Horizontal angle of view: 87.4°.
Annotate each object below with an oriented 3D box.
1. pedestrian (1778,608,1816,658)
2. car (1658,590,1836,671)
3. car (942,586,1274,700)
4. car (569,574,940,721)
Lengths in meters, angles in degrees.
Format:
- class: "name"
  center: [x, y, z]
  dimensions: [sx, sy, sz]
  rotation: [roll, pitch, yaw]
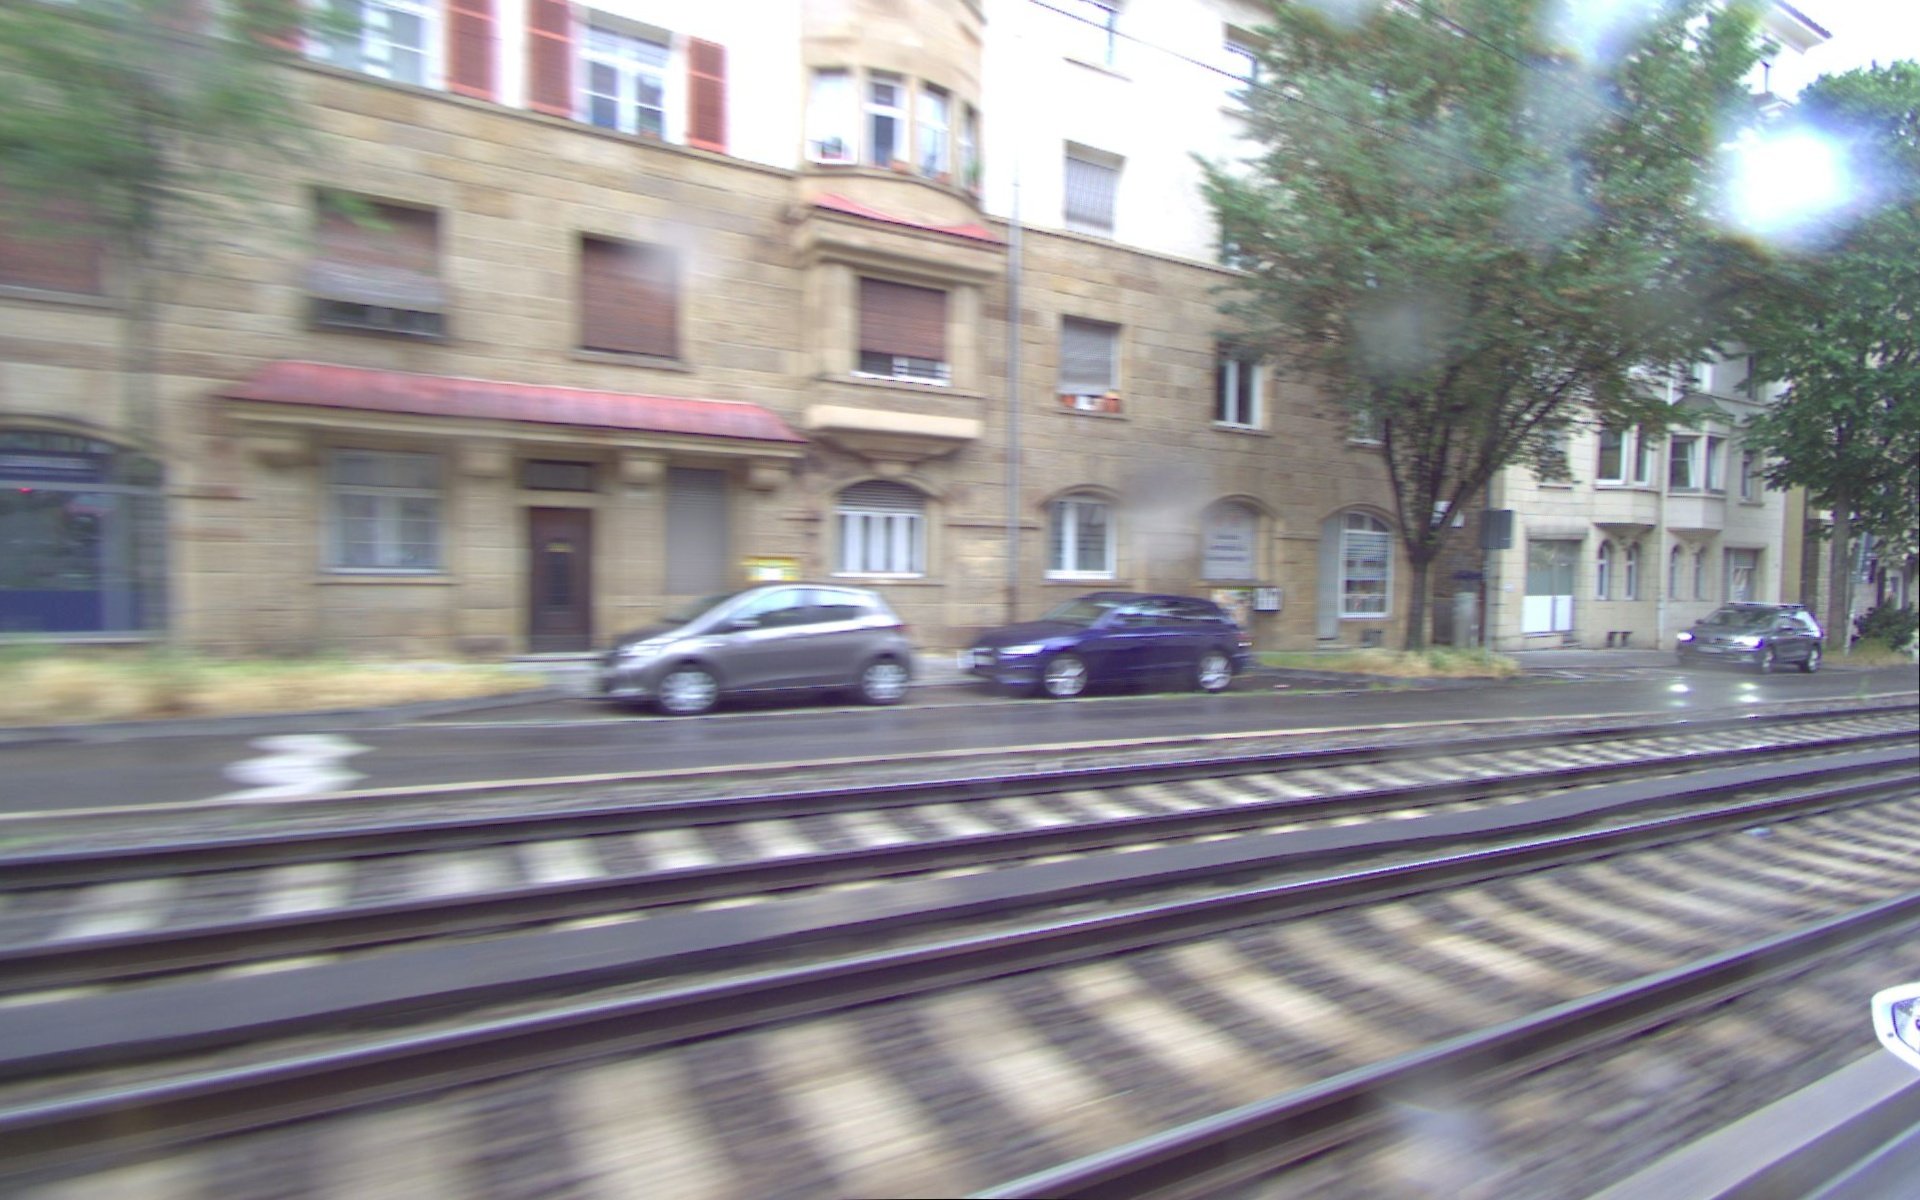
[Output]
- class: "pedestrian"
  center: [28.495, 1.117, 34.189]
  dimensions: [0.761, 1.685, 0.725]
  rotation: [1, 1, -30]
- class: "car"
  center: [20.122, 0.736, 25.630]
  dimensions: [4.724, 1.765, 1.942]
  rotation: [1, 4, -31]
- class: "car"
  center: [2.302, 0.627, 15.074]
  dimensions: [4.922, 1.479, 1.771]
  rotation: [2, 0, -31]
- class: "car"
  center: [-2.464, 0.550, 12.350]
  dimensions: [4.129, 1.549, 1.681]
  rotation: [2, 0, -31]
